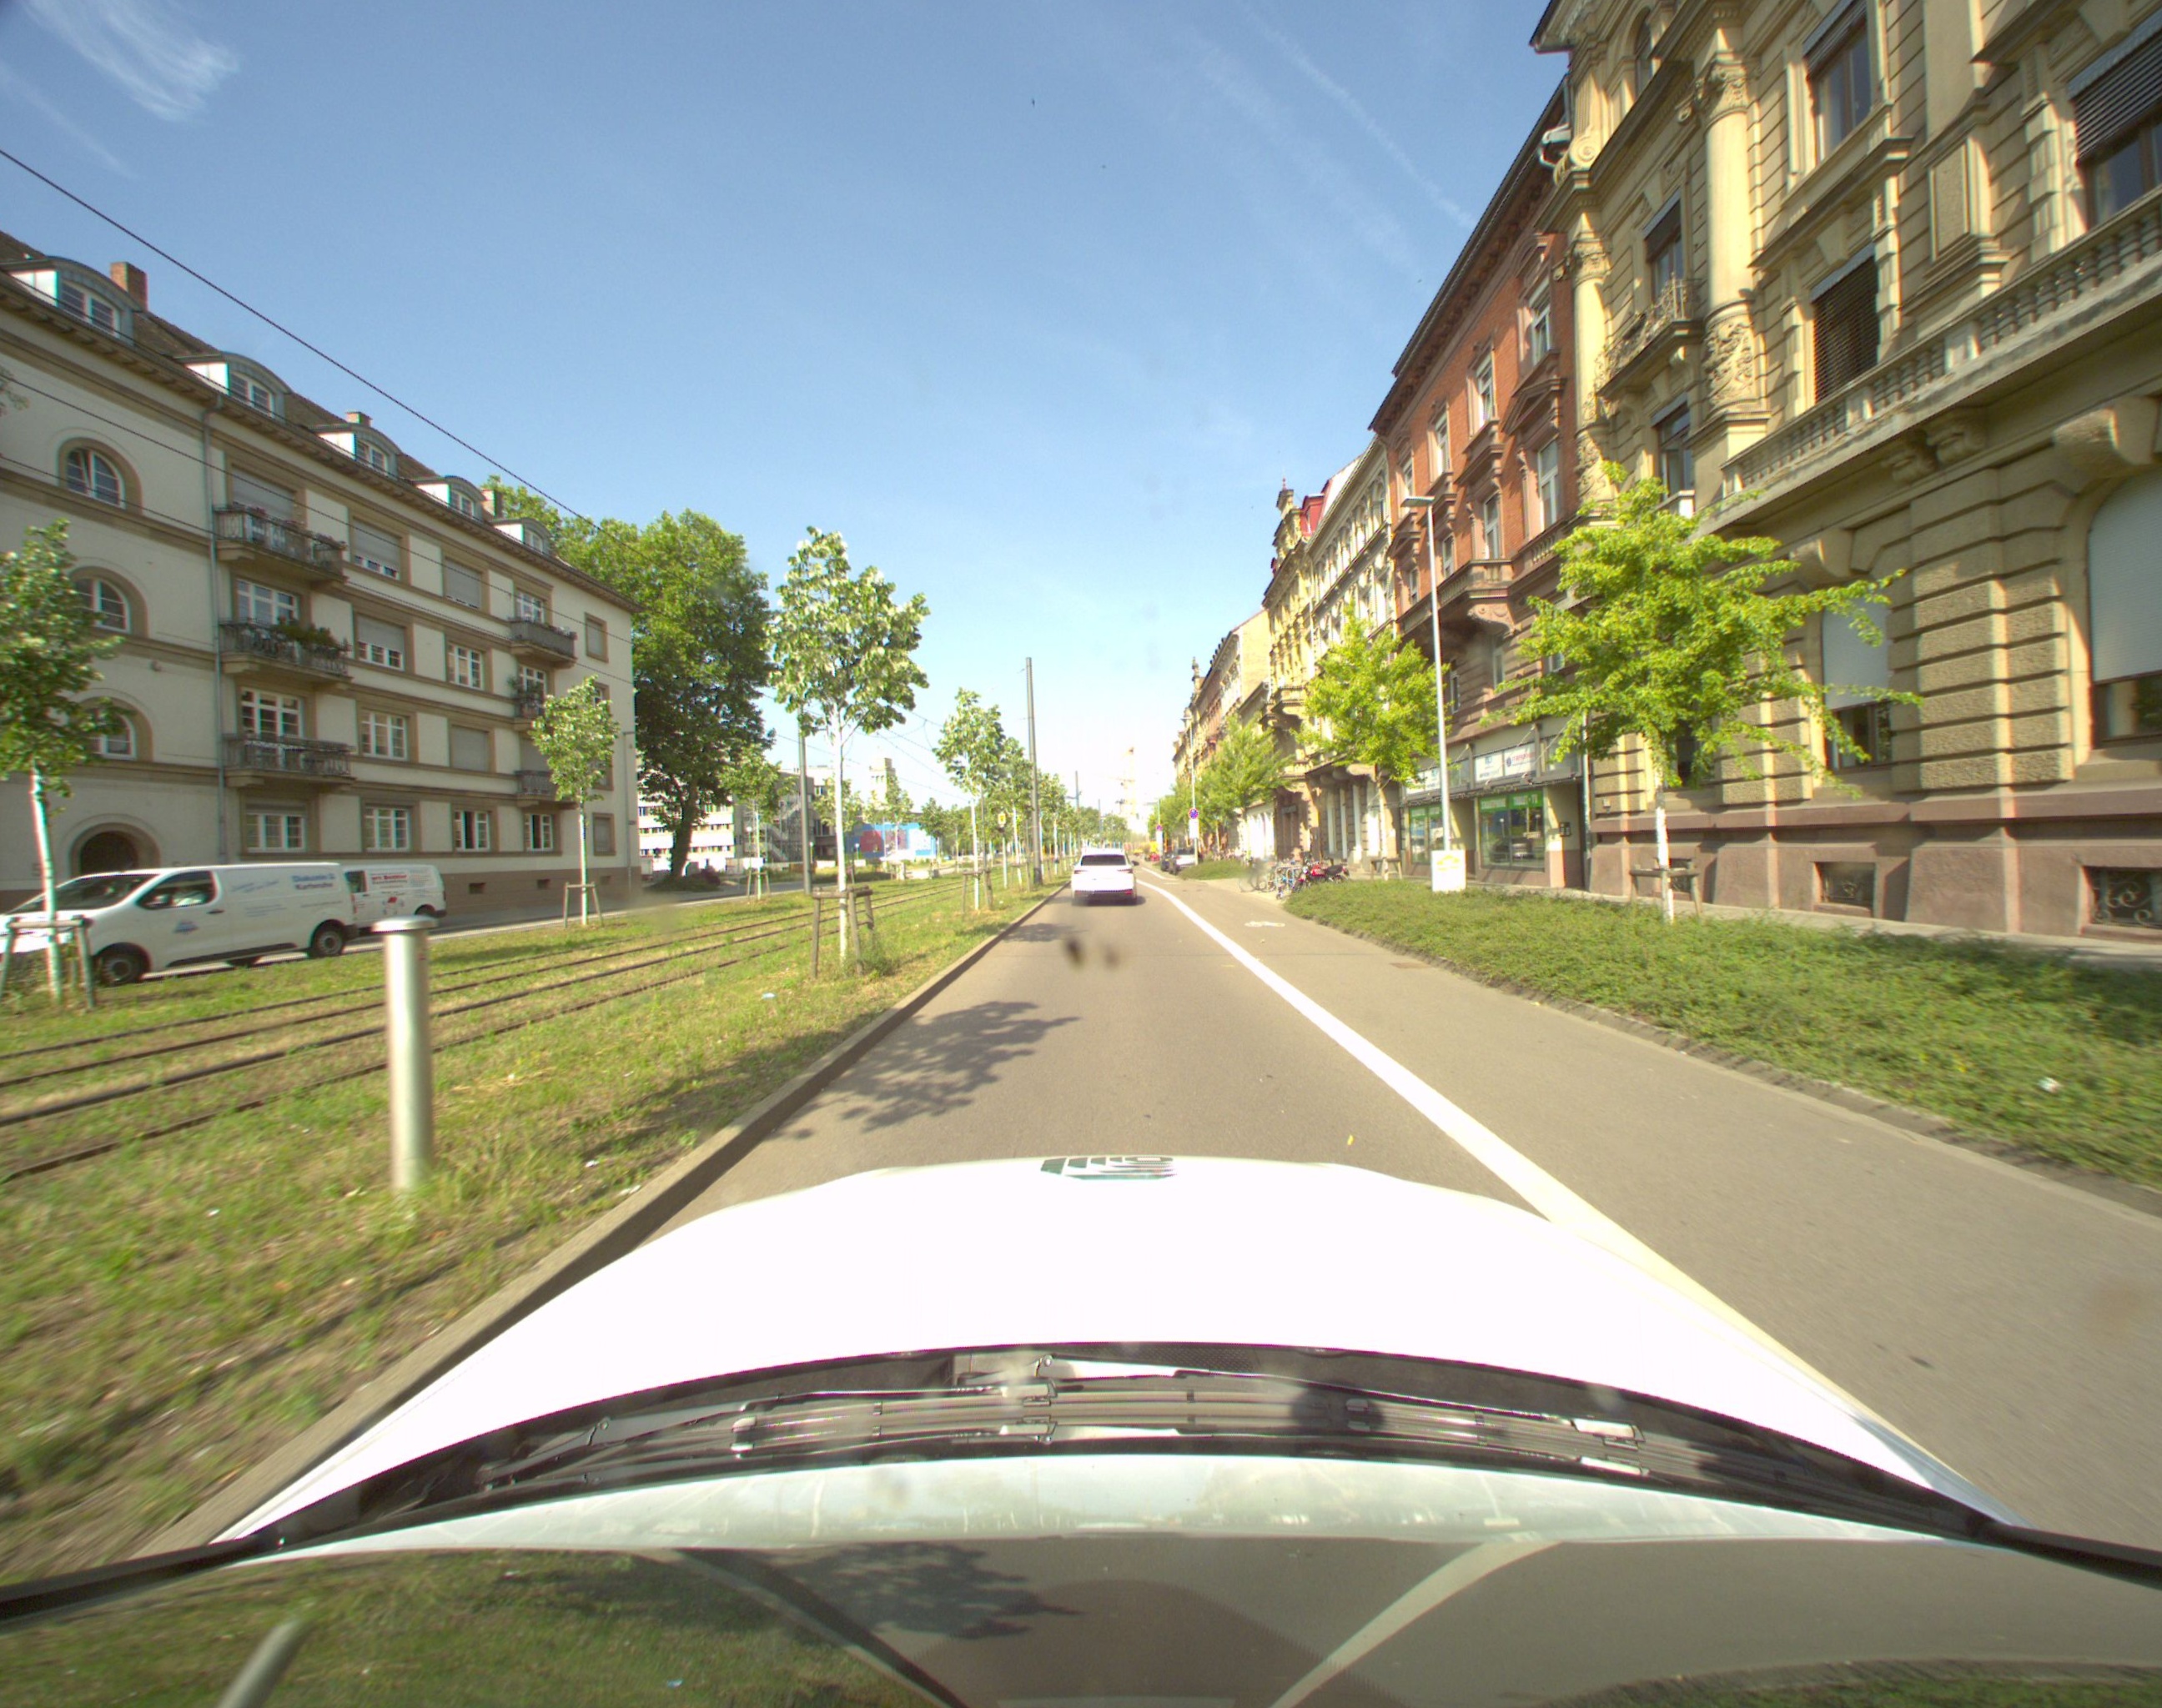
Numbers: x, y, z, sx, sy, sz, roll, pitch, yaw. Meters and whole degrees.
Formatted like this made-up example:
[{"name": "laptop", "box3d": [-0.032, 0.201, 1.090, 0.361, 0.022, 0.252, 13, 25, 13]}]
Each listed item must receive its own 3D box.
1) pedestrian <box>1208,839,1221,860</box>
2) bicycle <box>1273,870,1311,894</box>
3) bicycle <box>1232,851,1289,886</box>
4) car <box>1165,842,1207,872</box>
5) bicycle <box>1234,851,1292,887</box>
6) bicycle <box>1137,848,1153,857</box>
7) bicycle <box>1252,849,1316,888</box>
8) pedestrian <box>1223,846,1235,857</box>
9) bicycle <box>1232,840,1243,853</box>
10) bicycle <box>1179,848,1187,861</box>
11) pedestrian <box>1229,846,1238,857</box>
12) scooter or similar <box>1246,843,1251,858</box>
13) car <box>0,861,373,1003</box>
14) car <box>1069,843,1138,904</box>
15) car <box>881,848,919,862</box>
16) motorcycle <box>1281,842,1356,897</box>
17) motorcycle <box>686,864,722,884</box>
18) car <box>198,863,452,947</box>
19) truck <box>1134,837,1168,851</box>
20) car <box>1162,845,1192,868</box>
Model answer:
[{"name": "pedestrian", "box3d": [11.541, -0.387, 70.507, 0.821, 1.696, 0.792, -4, 0, -2]}, {"name": "bicycle", "box3d": [6.001, 0.785, 23.178, 0.954, 0.609, 0.361, -4, 0, 3]}, {"name": "bicycle", "box3d": [6.069, 0.495, 27.529, 1.779, 1.054, 0.373, -4, 0, 0]}, {"name": "car", "box3d": [6.227, 0.164, 48.566, 1.764, 1.588, 4.245, -4, 1, -1]}, {"name": "bicycle", "box3d": [6.050, 0.496, 27.130, 1.779, 1.054, 0.373, -4, 0, 0]}, {"name": "bicycle", "box3d": [9.487, -0.227, 121.040, 2.229, 1.104, 0.589, -4, 0, 3]}, {"name": "bicycle", "box3d": [6.451, 0.463, 25.955, 1.803, 1.096, 0.671, -4, 0, -4]}, {"name": "pedestrian", "box3d": [13.022, -0.230, 71.593, 0.875, 0.876, 0.711, -4, 0, -1]}, {"name": "bicycle", "box3d": [12.787, -0.609, 66.625, 0.450, 1.083, 1.445, -2, 0, -7]}, {"name": "bicycle", "box3d": [8.775, 0.007, 70.004, 0.490, 1.093, 1.828, -2, 0, 2]}, {"name": "pedestrian", "box3d": [13.110, -0.205, 69.894, 0.569, 0.854, 0.457, -5, 0, -4]}, {"name": "scooter or similar", "box3d": [12.773, -0.247, 62.060, 0.287, 1.134, 1.091, -2, 0, 8]}, {"name": "car", "box3d": [-15.531, 1.156, 14.067, 1.986, 1.895, 5.049, -3, 0, 2]}, {"name": "car", "box3d": [0.685, 0.514, 24.073, 1.810, 1.590, 4.409, -2, 0, 2]}, {"name": "car", "box3d": [-34.996, 0.139, 157.632, 6.895, 2.638, 2.498, 0, 0, -19]}, {"name": "motorcycle", "box3d": [6.373, 0.403, 21.837, 2.050, 1.286, 0.698, -5, 1, -33]}, {"name": "motorcycle", "box3d": [-28.868, 1.537, 62.374, 2.307, 1.369, 0.809, -3, 0, -35]}, {"name": "car", "box3d": [-20.349, 1.267, 22.355, 1.985, 1.918, 5.156, -1, 1, 3]}, {"name": "truck", "box3d": [12.907, -1.799, 150.411, 5.815, 2.318, 2.234, -2, 0, 28]}, {"name": "car", "box3d": [6.581, 0.142, 56.183, 1.729, 1.396, 4.719, -4, 1, 4]}]
